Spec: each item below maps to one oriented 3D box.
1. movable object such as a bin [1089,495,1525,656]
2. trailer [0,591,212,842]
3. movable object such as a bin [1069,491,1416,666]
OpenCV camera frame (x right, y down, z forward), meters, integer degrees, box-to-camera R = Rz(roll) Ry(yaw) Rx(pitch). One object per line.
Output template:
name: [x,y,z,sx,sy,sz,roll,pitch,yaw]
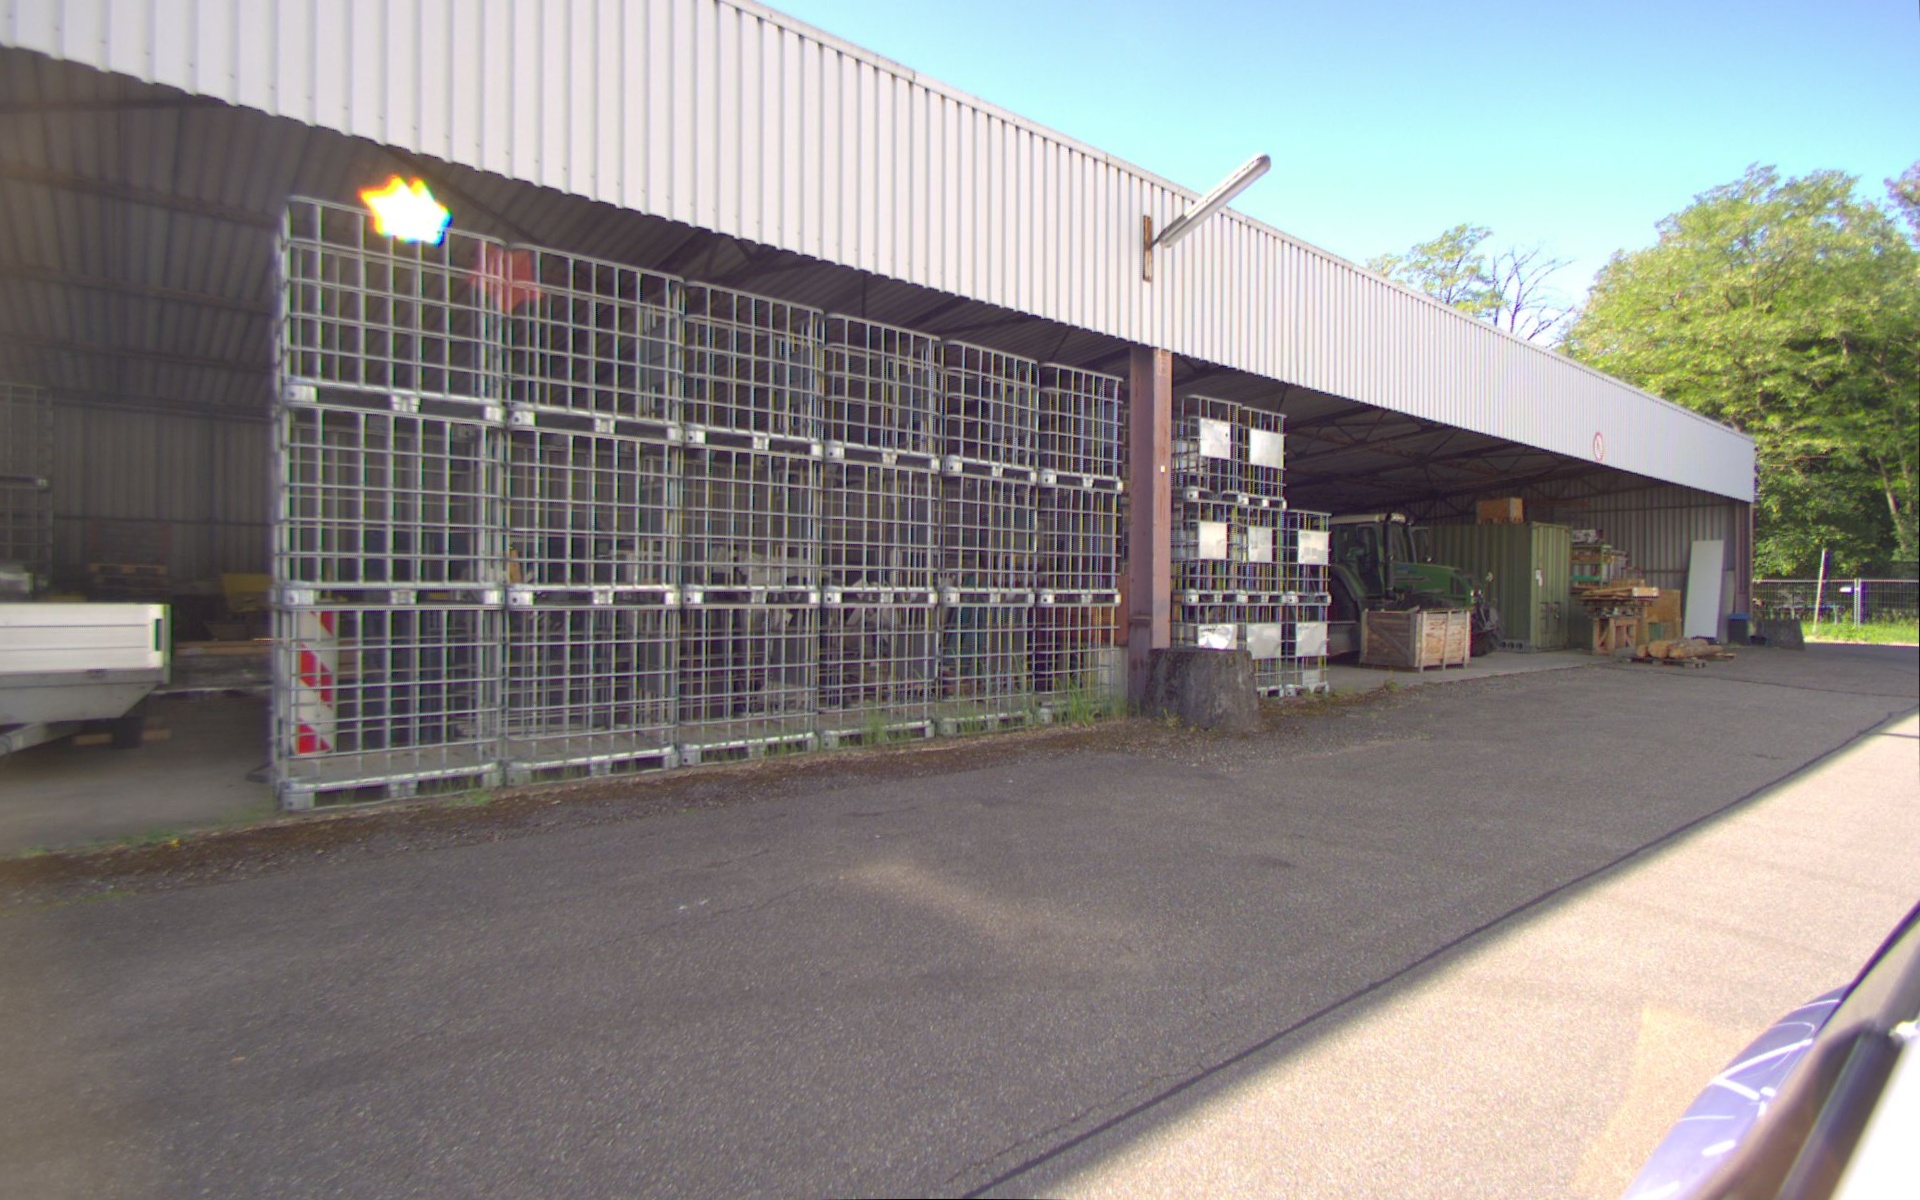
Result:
movable object such as a bin: [7.374,-0.489,23.135,3.154,2.947,9.213,0,0,-39]
trailer: [-6.745,0.548,6.943,2.104,1.147,5.857,0,1,-41]
movable object such as a bin: [5.437,-0.398,20.386,2.962,2.947,6.199,0,0,-39]
